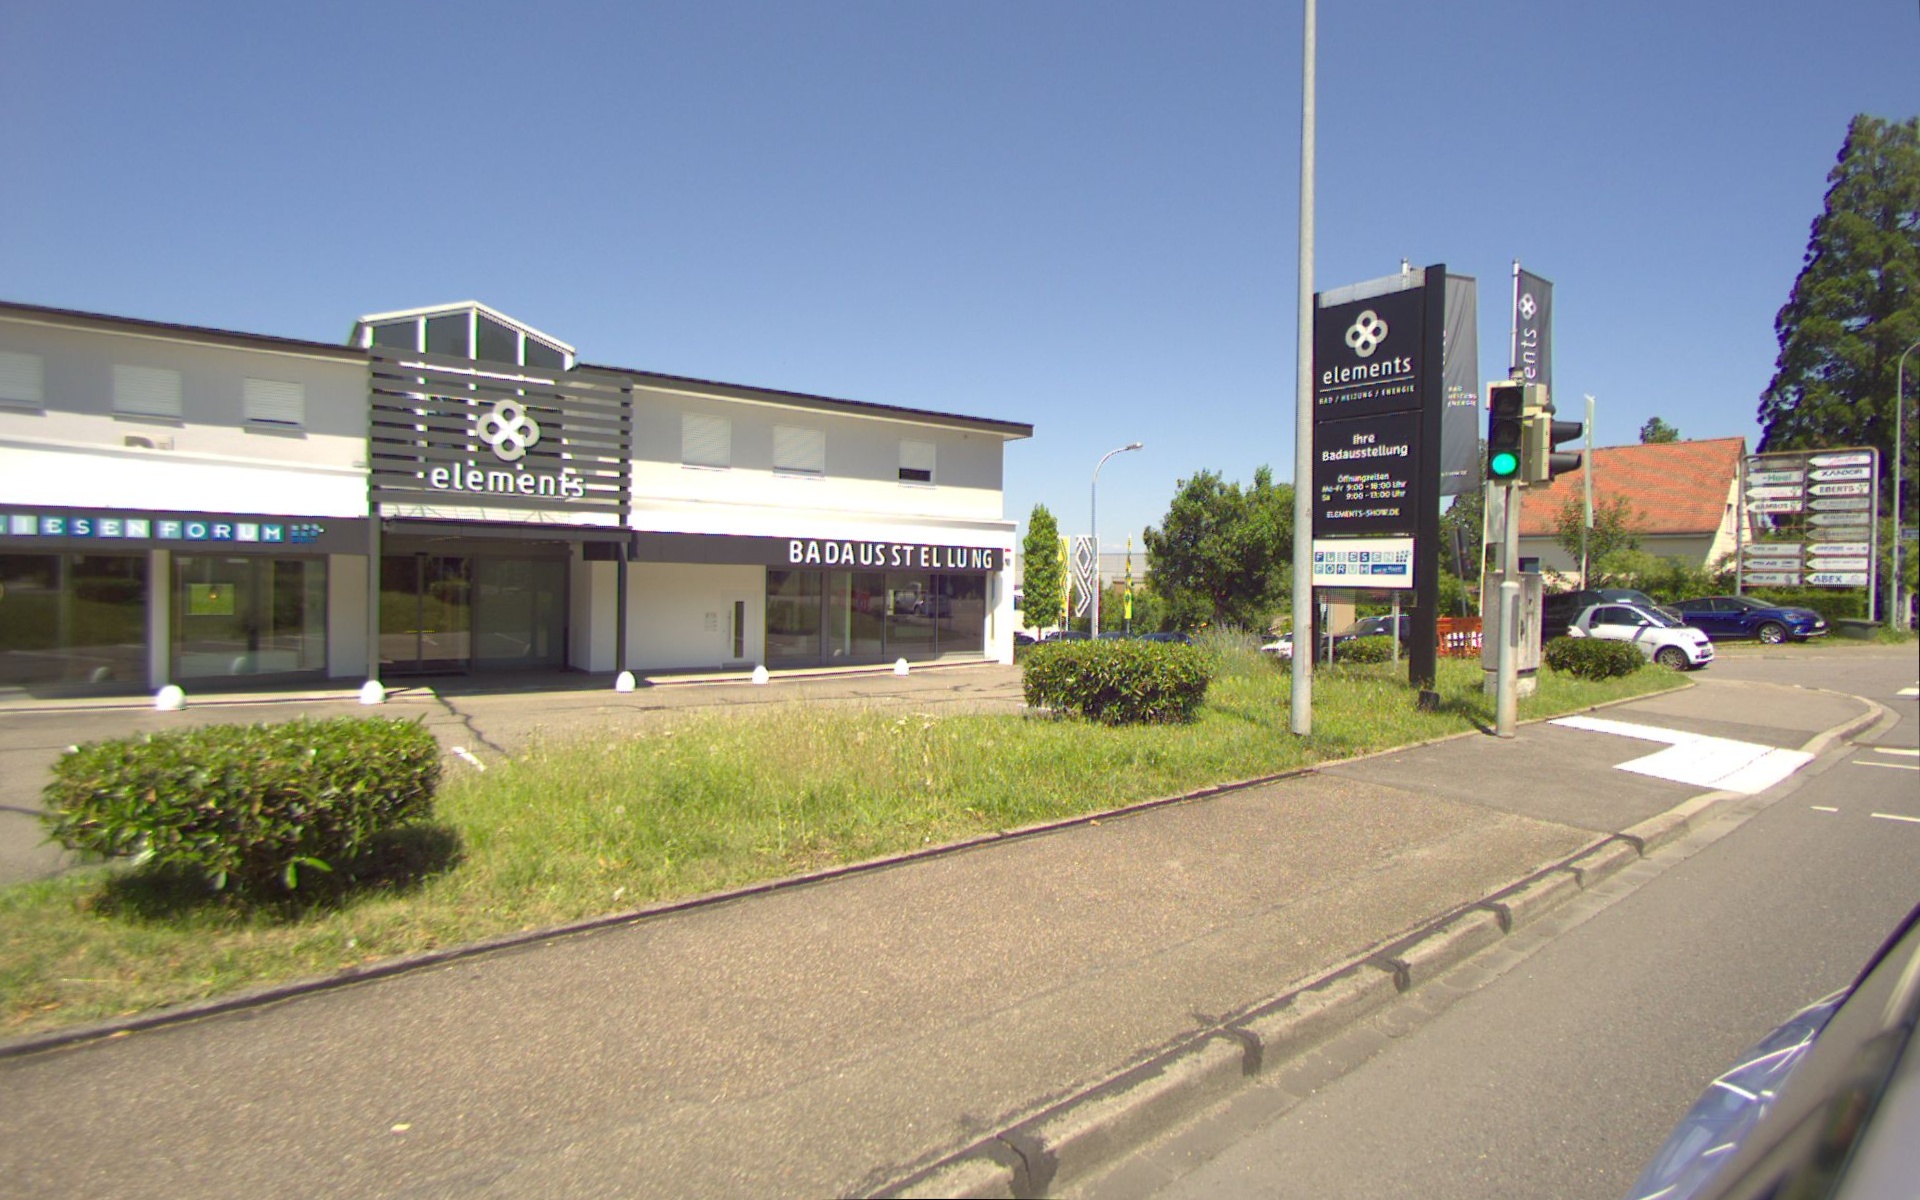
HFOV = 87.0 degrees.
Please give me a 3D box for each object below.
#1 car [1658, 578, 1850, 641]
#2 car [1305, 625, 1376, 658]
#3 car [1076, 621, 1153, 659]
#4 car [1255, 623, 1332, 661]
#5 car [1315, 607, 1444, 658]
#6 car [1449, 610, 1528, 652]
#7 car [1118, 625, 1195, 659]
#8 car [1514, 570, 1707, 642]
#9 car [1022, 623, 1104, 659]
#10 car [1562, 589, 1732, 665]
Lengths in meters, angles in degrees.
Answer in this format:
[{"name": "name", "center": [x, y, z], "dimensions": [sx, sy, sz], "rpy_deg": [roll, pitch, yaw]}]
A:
[{"name": "car", "center": [24.011, 0.329, 30.768], "dimensions": [1.819, 1.534, 4.083], "rpy_deg": [-2, -4, -30]}, {"name": "car", "center": [17.731, 1.917, 47.069], "dimensions": [3.374, 1.462, 1.736], "rpy_deg": [2, -4, -43]}, {"name": "car", "center": [7.199, 1.885, 46.948], "dimensions": [1.743, 1.555, 4.029], "rpy_deg": [-1, -5, 38]}, {"name": "car", "center": [16.248, 2.005, 49.212], "dimensions": [3.931, 1.725, 1.872], "rpy_deg": [1, 0, -42]}, {"name": "car", "center": [15.127, 1.146, 36.499], "dimensions": [4.278, 1.679, 1.832], "rpy_deg": [-1, -1, -25]}, {"name": "car", "center": [21.392, 1.286, 40.900], "dimensions": [1.823, 1.511, 4.077], "rpy_deg": [-3, -5, 43]}, {"name": "car", "center": [8.738, 1.883, 44.801], "dimensions": [1.707, 1.391, 3.943], "rpy_deg": [-1, -4, 38]}, {"name": "car", "center": [20.261, 0.278, 31.886], "dimensions": [1.956, 1.925, 5.282], "rpy_deg": [-1, -4, -10]}, {"name": "car", "center": [5.172, 2.050, 50.245], "dimensions": [1.864, 1.555, 4.341], "rpy_deg": [-2, -6, 41]}, {"name": "car", "center": [15.539, 0.615, 22.976], "dimensions": [1.567, 1.539, 2.775], "rpy_deg": [-3, -1, -36]}]
